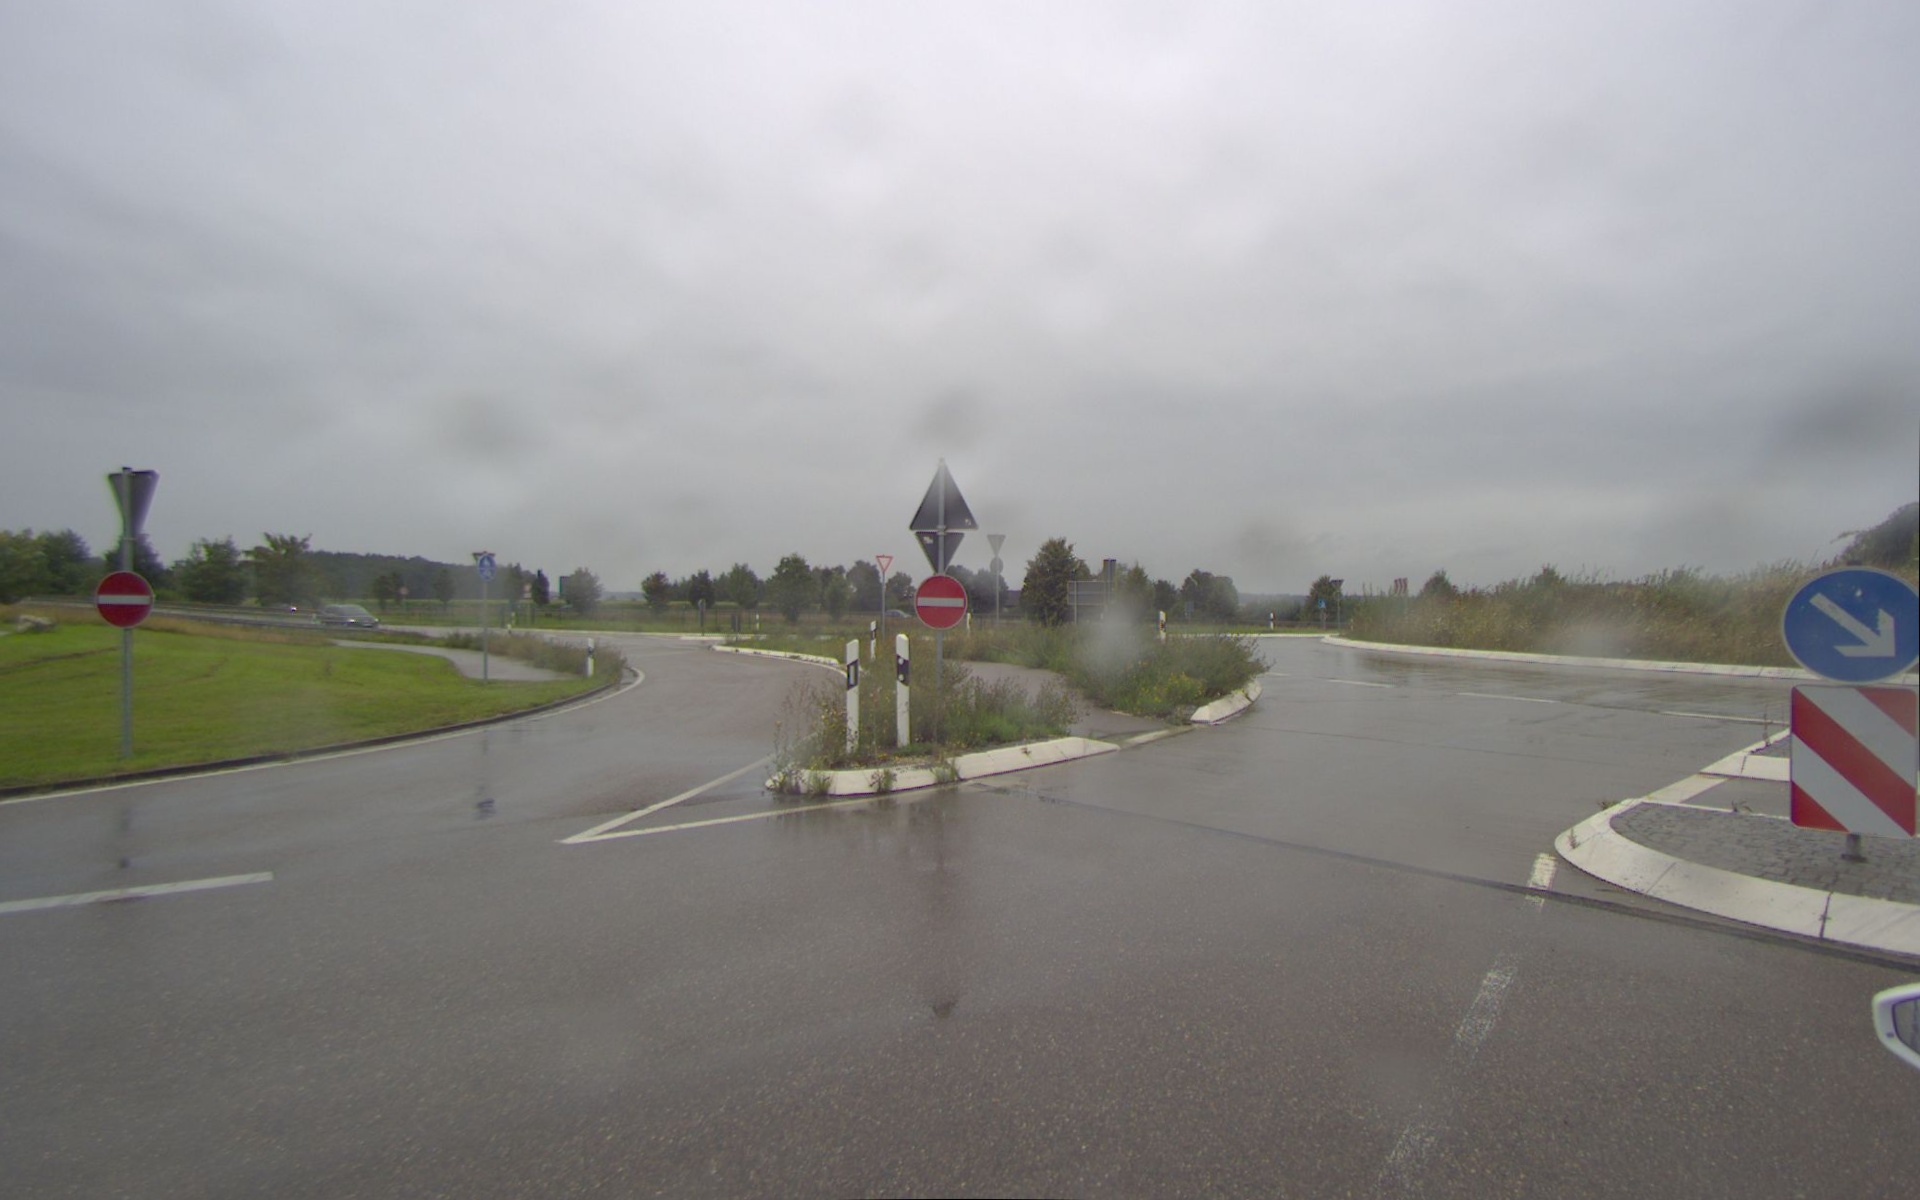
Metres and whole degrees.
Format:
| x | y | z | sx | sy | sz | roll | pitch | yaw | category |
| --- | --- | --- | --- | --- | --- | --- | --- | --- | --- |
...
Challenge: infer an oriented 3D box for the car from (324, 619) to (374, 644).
| x | y | z | sx | sy | sz | roll | pitch | yaw | category |
| --- | --- | --- | --- | --- | --- | --- | --- | --- | --- |
| -38.237 | 1.940 | 62.833 | 3.699 | 1.472 | 1.579 | 0 | -1 | 40 | car |
